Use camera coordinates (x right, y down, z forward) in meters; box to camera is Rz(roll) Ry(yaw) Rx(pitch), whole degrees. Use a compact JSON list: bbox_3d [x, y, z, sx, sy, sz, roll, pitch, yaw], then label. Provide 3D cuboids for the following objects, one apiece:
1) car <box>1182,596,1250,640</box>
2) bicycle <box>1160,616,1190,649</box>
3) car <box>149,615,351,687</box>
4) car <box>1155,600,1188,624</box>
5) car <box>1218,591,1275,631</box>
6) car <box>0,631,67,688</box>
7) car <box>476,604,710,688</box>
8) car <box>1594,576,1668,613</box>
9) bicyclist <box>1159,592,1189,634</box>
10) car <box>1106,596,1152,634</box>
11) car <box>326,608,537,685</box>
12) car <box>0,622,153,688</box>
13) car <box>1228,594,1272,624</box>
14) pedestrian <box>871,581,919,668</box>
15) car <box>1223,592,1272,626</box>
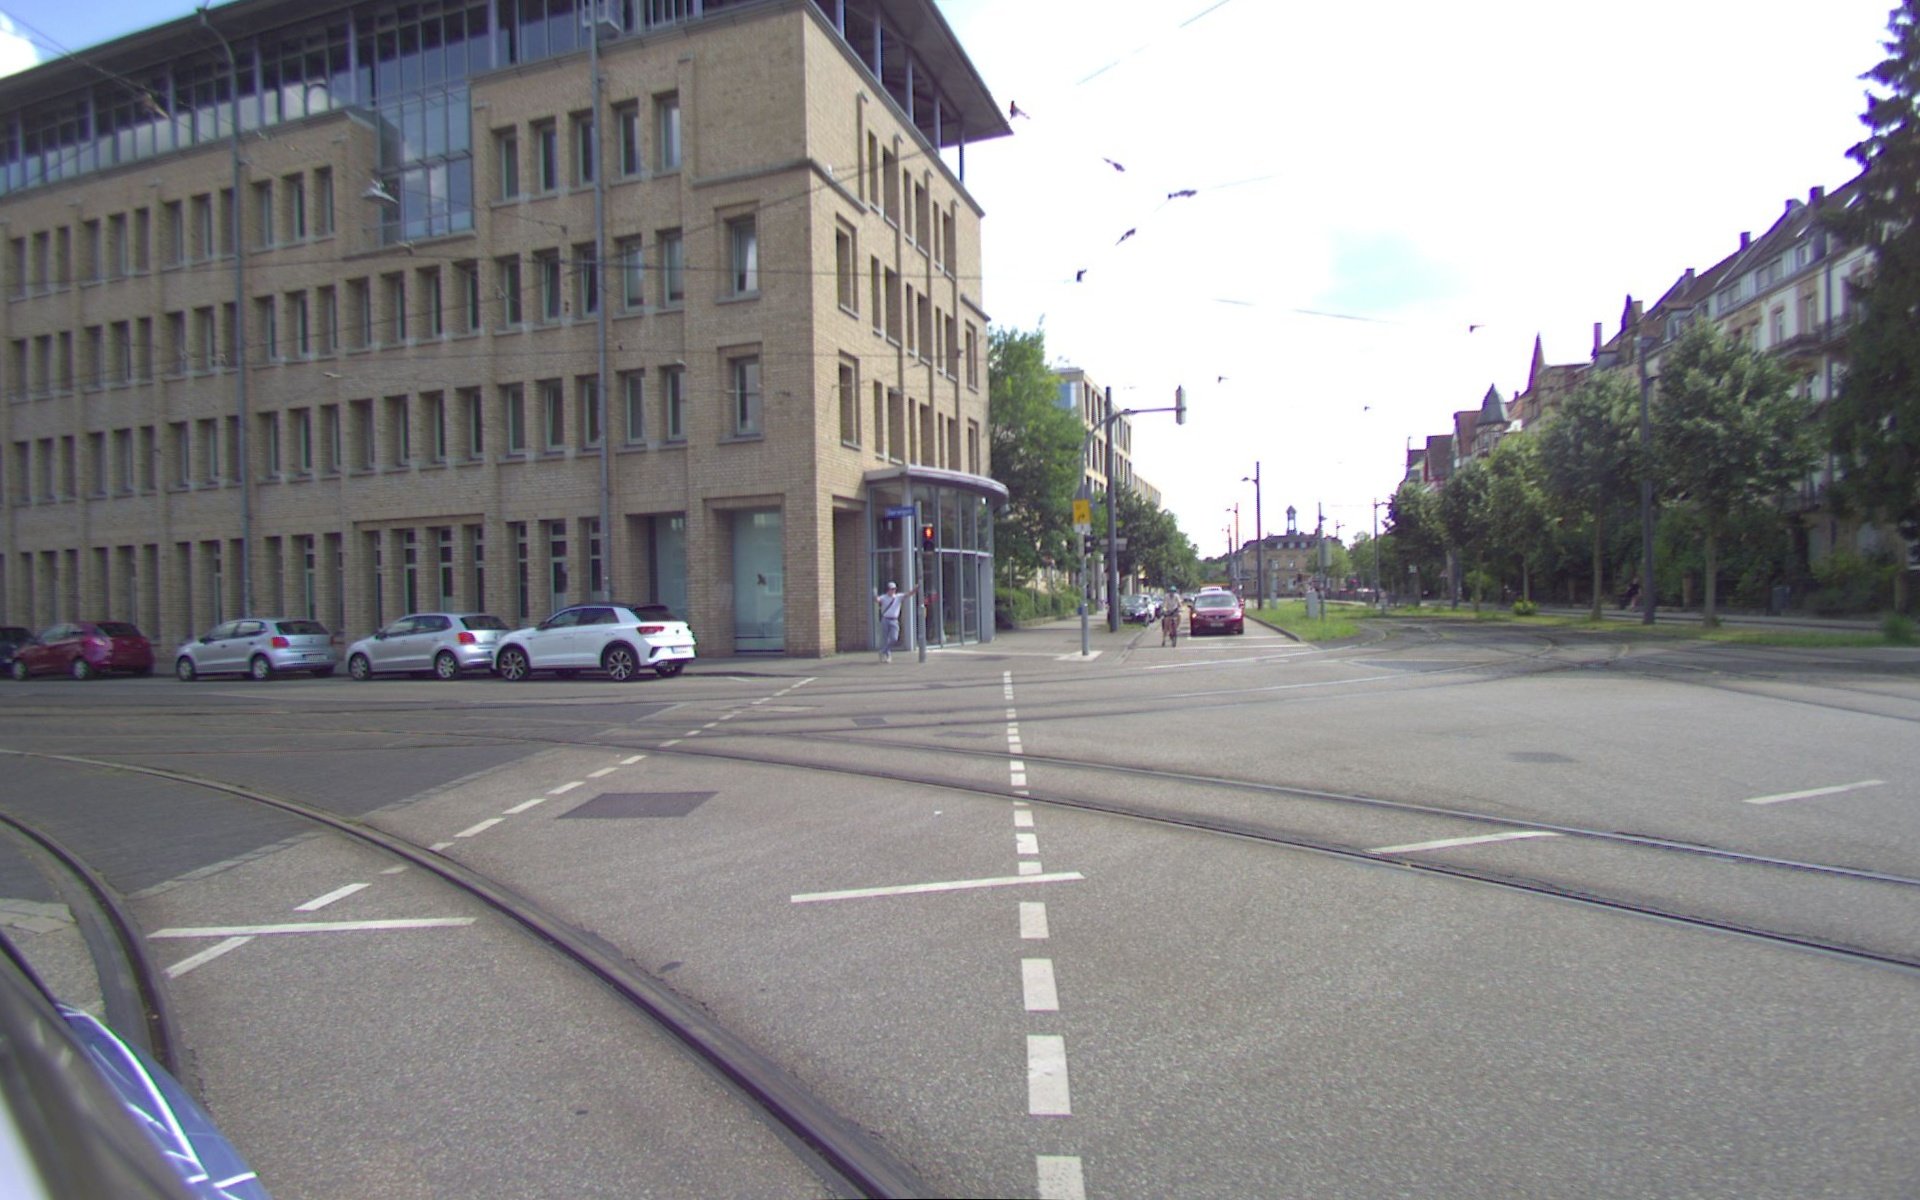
[{"bbox_3d":[8.788,0.579,35.042,1.869,1.386,3.989,-1,0,9],"label":"car"},{"bbox_3d":[5.982,0.903,28.232,0.710,0.833,2.141,-1,0,10],"label":"bicycle"},{"bbox_3d":[-16.631,1.176,23.715,4.179,1.542,1.844,-2,0,21],"label":"car"},{"bbox_3d":[12.666,0.711,60.560,1.808,1.298,3.984,-2,0,12],"label":"car"},{"bbox_3d":[11.850,0.431,42.087,1.979,1.564,3.985,-2,0,12],"label":"car"},{"bbox_3d":[-26.474,1.608,27.225,4.208,1.406,1.926,-2,0,21],"label":"car"},{"bbox_3d":[-7.433,0.918,20.538,4.226,1.546,1.926,-2,0,21],"label":"car"},{"bbox_3d":[34.623,-0.261,52.373,1.807,1.807,3.984,-1,-1,12],"label":"car"},{"bbox_3d":[5.979,0.361,28.274,0.767,1.156,0.895,-1,0,10],"label":"bicyclist"},{"bbox_3d":[7.460,0.635,44.889,1.869,1.584,3.989,-1,0,9],"label":"car"},{"bbox_3d":[-11.538,1.009,22.132,3.984,1.542,1.926,-2,0,21],"label":"car"},{"bbox_3d":[-22.691,1.399,25.923,3.523,1.542,1.577,-2,0,21],"label":"car"},{"bbox_3d":[15.766,0.472,55.174,1.979,1.564,3.985,-2,0,12],"label":"car"},{"bbox_3d":[-1.410,0.525,21.817,0.945,1.809,0.763,-1,0,-6],"label":"pedestrian"},{"bbox_3d":[13.993,0.424,49.481,1.979,1.564,3.985,-2,0,12],"label":"car"}]
